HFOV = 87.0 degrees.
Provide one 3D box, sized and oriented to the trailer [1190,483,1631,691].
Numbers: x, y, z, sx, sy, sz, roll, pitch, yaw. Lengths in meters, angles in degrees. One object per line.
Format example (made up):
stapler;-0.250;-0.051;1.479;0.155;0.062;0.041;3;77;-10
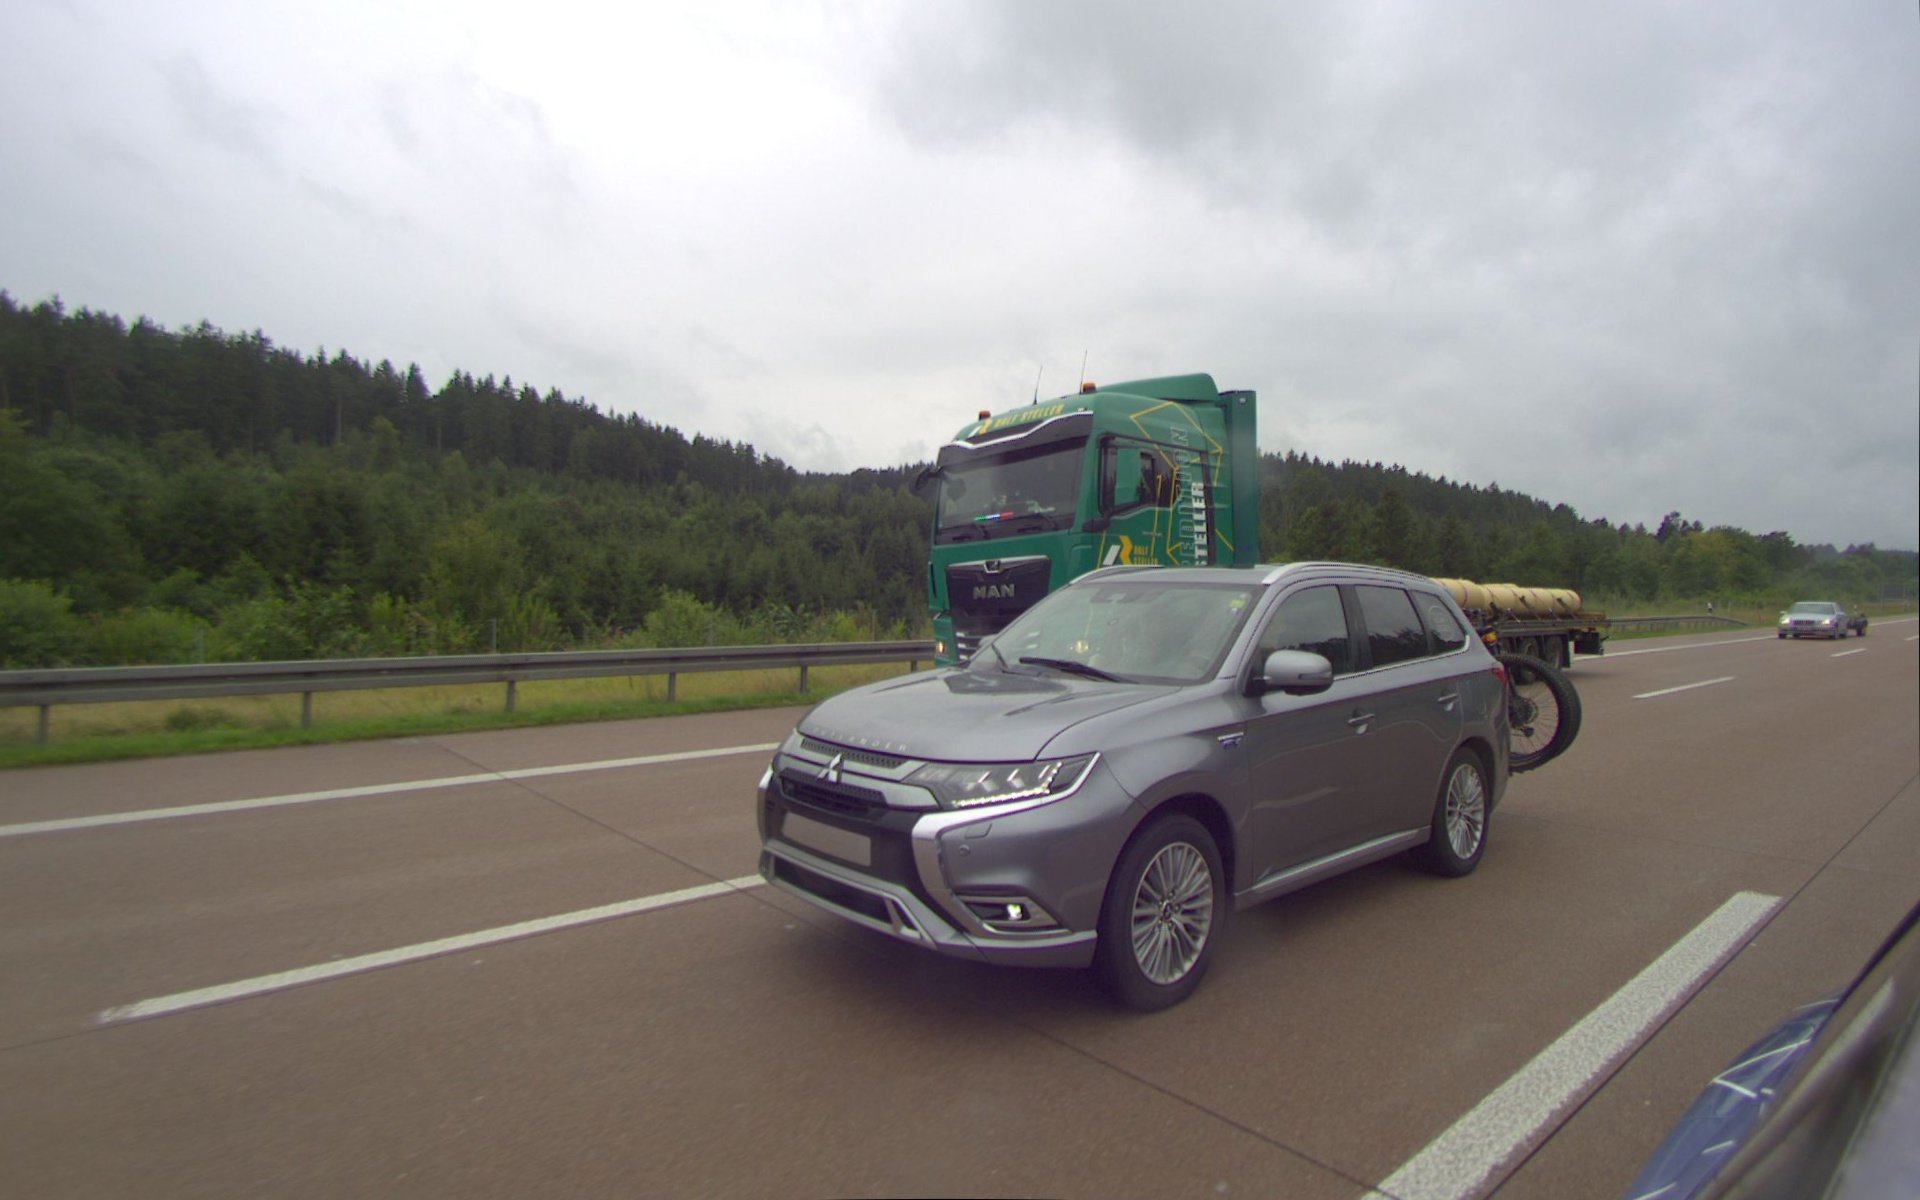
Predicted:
trailer;8.603;-0.312;18.015;11.205;2.709;2.885;-2;1;-42

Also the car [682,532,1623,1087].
car;1.585;0.538;5.583;5.719;1.612;1.997;-2;1;-41

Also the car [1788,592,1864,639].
car;33.532;0.536;39.140;4.893;1.631;1.700;-2;2;-43

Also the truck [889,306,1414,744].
truck;2.721;-0.773;12.675;6.870;4.014;2.901;-2;1;-42

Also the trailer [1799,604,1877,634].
trailer;36.771;0.761;42.351;4.560;1.181;1.974;0;0;-42
